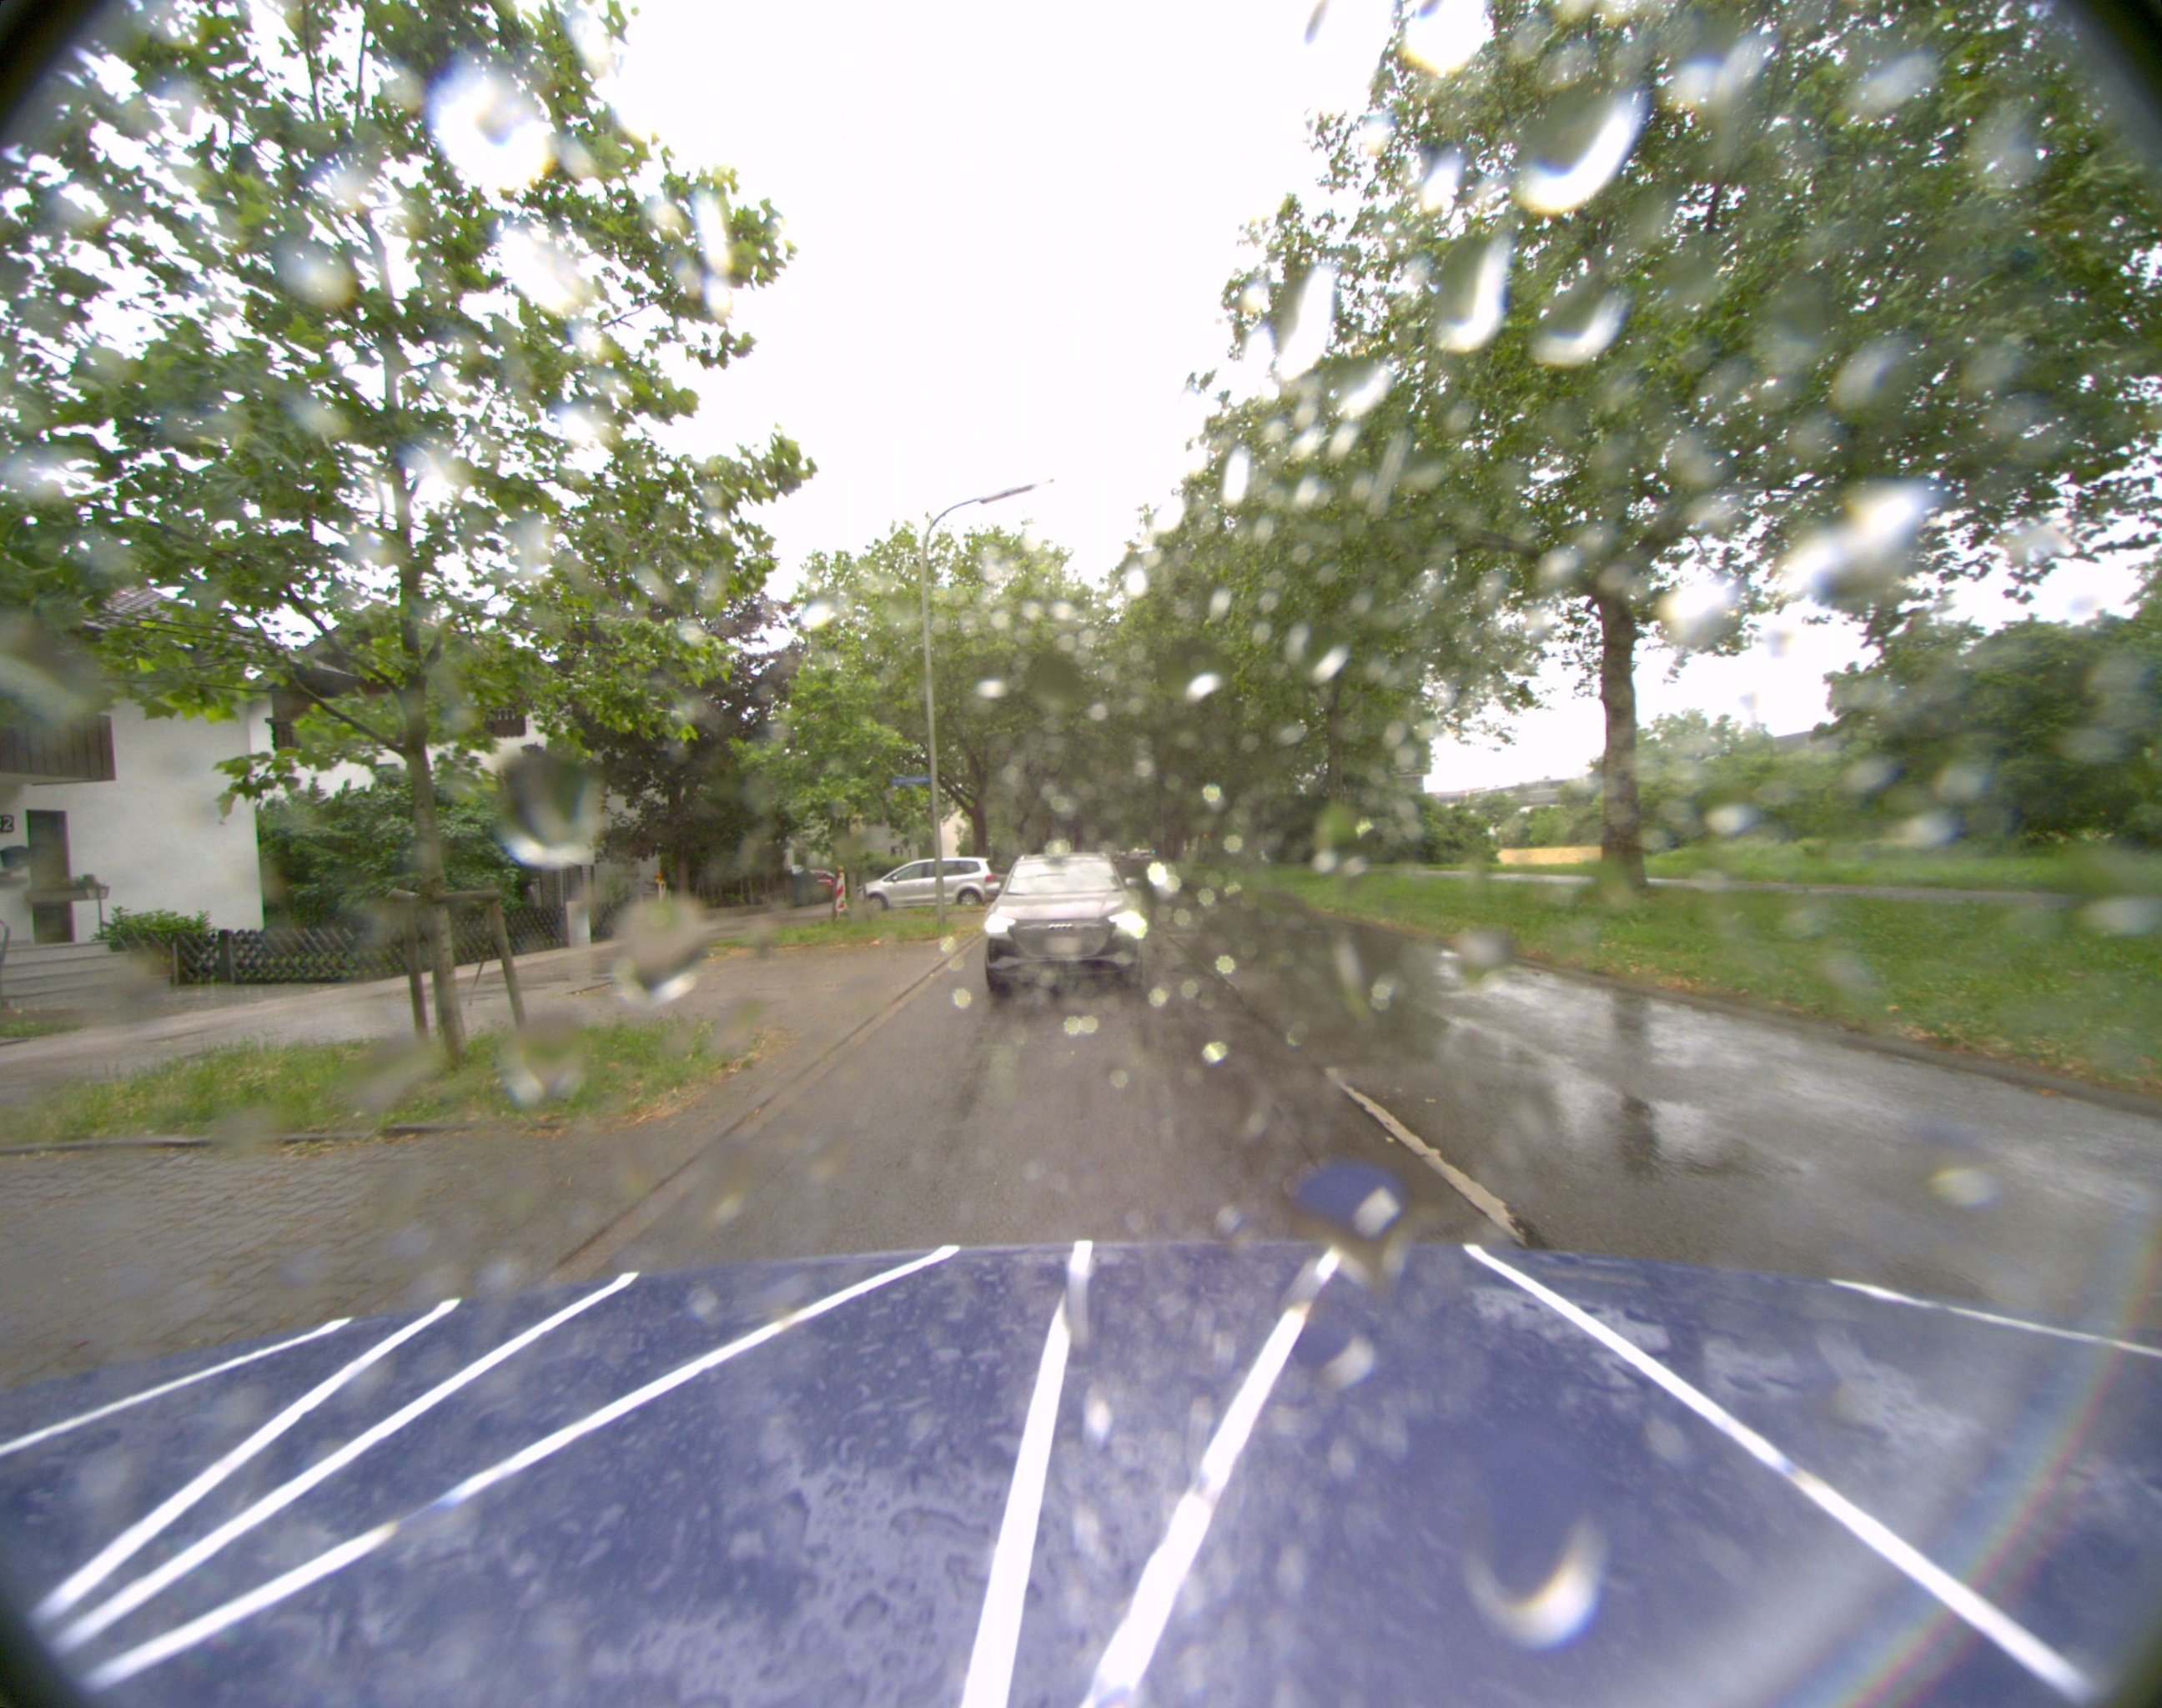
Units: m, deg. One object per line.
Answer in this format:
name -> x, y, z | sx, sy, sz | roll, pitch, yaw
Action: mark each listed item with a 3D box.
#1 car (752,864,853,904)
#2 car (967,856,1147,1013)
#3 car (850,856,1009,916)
car -> -12.618, 1.341, 34.596 | 3.853, 1.603, 1.843 | -3, 0, 2
car -> -0.217, 0.873, 10.378 | 1.862, 1.608, 4.424 | -3, 0, 1
car -> -4.808, 1.007, 24.612 | 4.701, 1.651, 1.976 | -3, 0, -1
